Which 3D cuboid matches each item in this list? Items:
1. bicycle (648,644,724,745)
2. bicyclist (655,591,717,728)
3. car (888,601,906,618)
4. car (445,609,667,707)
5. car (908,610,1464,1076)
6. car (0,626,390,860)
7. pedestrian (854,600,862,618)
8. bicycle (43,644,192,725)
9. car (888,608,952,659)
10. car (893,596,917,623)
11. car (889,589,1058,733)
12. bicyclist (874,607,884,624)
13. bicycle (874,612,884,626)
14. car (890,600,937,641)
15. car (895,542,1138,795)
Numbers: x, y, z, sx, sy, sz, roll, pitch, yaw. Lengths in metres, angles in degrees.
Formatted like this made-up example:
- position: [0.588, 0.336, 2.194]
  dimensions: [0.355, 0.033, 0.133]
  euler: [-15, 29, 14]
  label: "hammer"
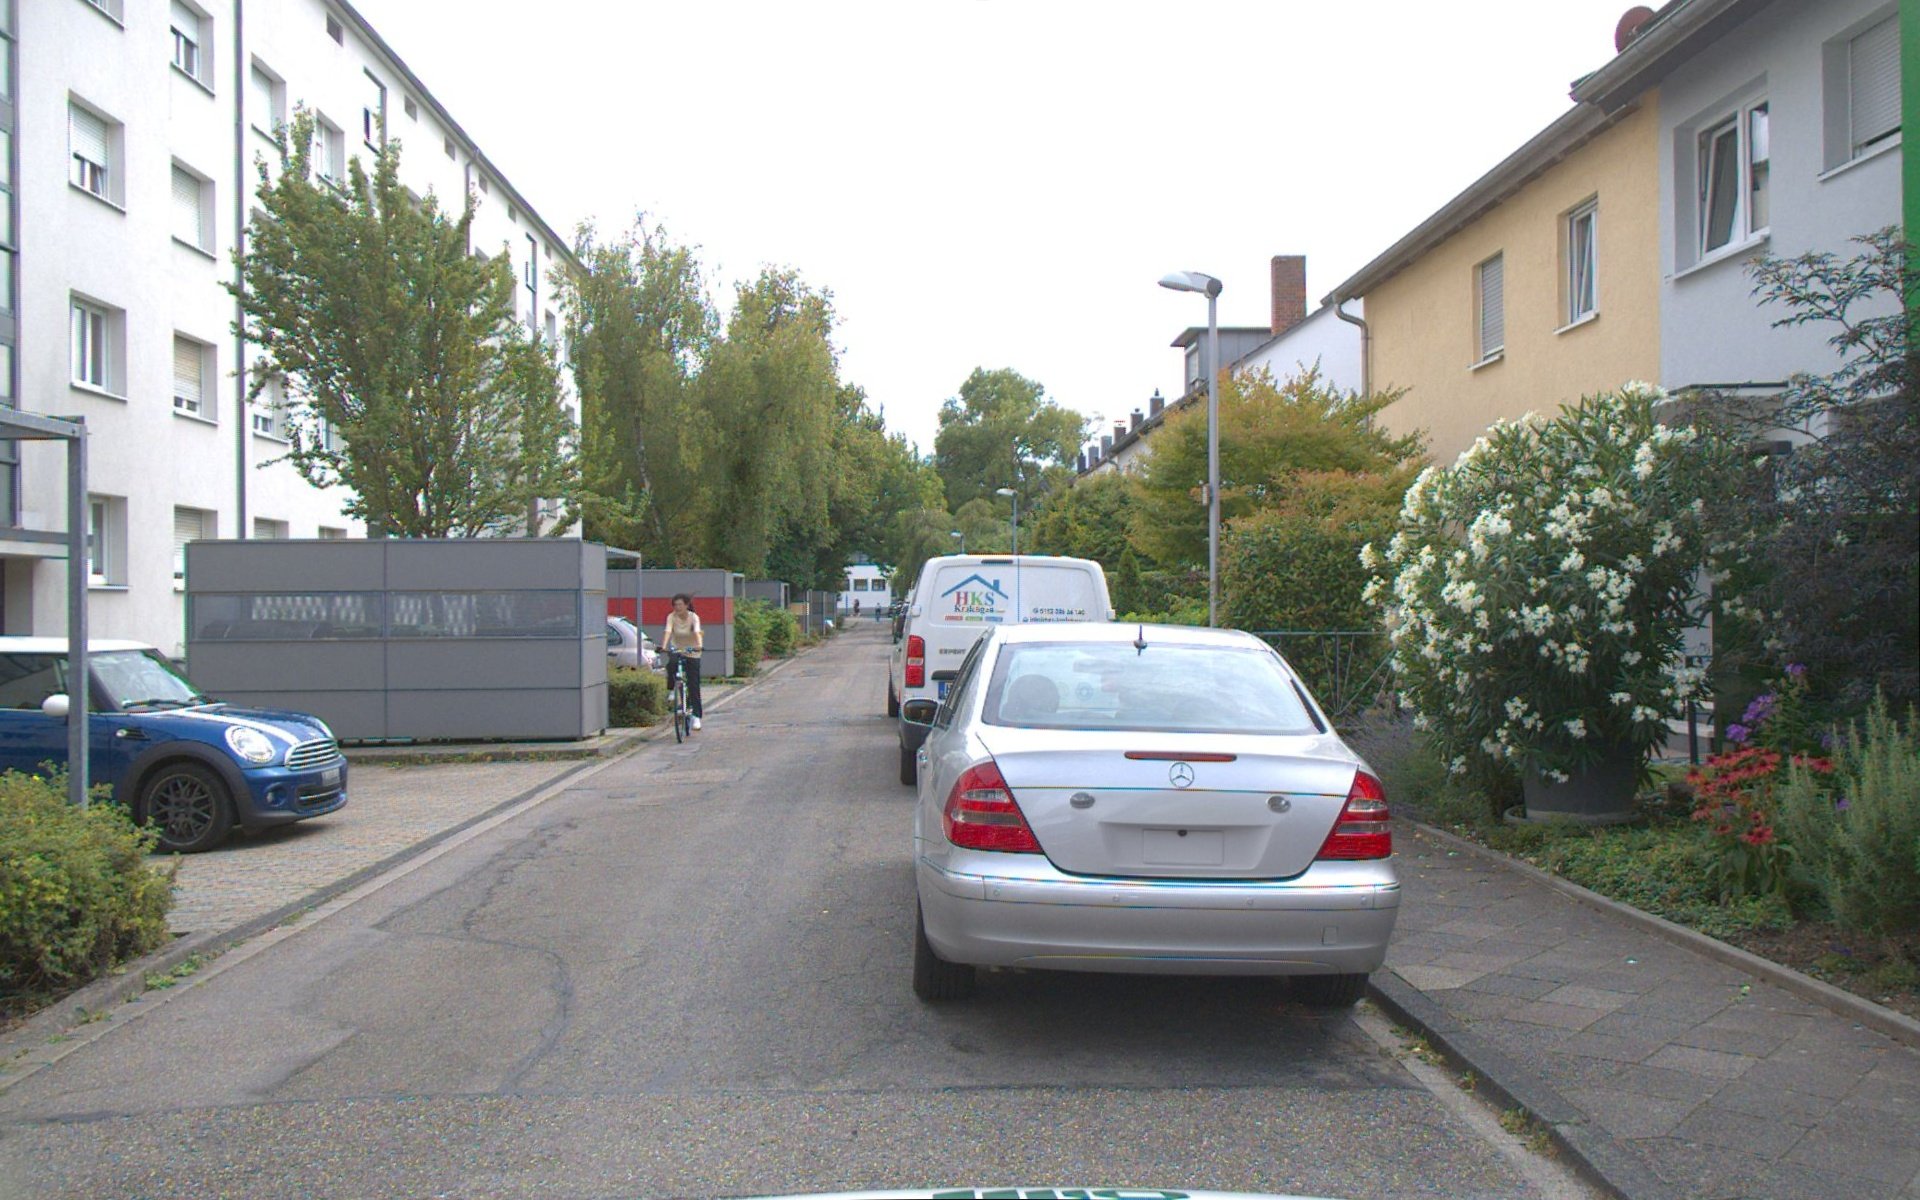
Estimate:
- position: [-3.311, 1.120, 20.129]
  dimensions: [0.585, 1.095, 2.042]
  euler: [-2, 0, -1]
  label: "bicycle"
- position: [-3.323, 0.715, 20.105]
  dimensions: [0.585, 1.608, 0.767]
  euler: [-2, 0, -1]
  label: "bicyclist"
- position: [-6.272, 0.958, 165.229]
  dimensions: [1.788, 1.609, 3.998]
  euler: [1, 0, -2]
  label: "car"
- position: [-6.927, 0.975, 28.642]
  dimensions: [3.494, 1.506, 1.708]
  euler: [-2, 0, -7]
  label: "car"
- position: [0.690, 0.783, 7.453]
  dimensions: [1.747, 1.445, 4.454]
  euler: [1, 0, -1]
  label: "car"
- position: [-6.193, 0.995, 11.899]
  dimensions: [3.560, 1.487, 1.653]
  euler: [-2, 0, 1]
  label: "car"
- position: [-10.428, 0.914, 168.944]
  dimensions: [0.761, 1.837, 0.547]
  euler: [1, -1, -4]
  label: "pedestrian"
- position: [-11.741, 1.163, 23.082]
  dimensions: [1.796, 1.042, 0.471]
  euler: [-1, 0, -44]
  label: "bicycle"
- position: [-1.198, 0.971, 49.077]
  dimensions: [1.788, 1.394, 4.329]
  euler: [1, 0, -2]
  label: "car"
- position: [-4.131, 0.702, 124.340]
  dimensions: [1.788, 1.916, 3.998]
  euler: [1, 0, -2]
  label: "car"
- position: [0.074, 0.725, 21.476]
  dimensions: [1.789, 1.664, 4.157]
  euler: [1, 0, -5]
  label: "car"
- position: [-7.062, 1.346, 144.641]
  dimensions: [0.782, 1.537, 0.934]
  euler: [1, -1, 0]
  label: "bicyclist"
- position: [-7.082, 1.668, 144.653]
  dimensions: [0.675, 1.151, 2.579]
  euler: [1, 0, 0]
  label: "bicycle"
- position: [-1.932, 0.819, 67.836]
  dimensions: [1.789, 1.609, 3.997]
  euler: [1, 0, -4]
  label: "car"
- position: [0.351, 0.560, 15.808]
  dimensions: [1.866, 1.999, 5.250]
  euler: [1, 0, -3]
  label: "car"
